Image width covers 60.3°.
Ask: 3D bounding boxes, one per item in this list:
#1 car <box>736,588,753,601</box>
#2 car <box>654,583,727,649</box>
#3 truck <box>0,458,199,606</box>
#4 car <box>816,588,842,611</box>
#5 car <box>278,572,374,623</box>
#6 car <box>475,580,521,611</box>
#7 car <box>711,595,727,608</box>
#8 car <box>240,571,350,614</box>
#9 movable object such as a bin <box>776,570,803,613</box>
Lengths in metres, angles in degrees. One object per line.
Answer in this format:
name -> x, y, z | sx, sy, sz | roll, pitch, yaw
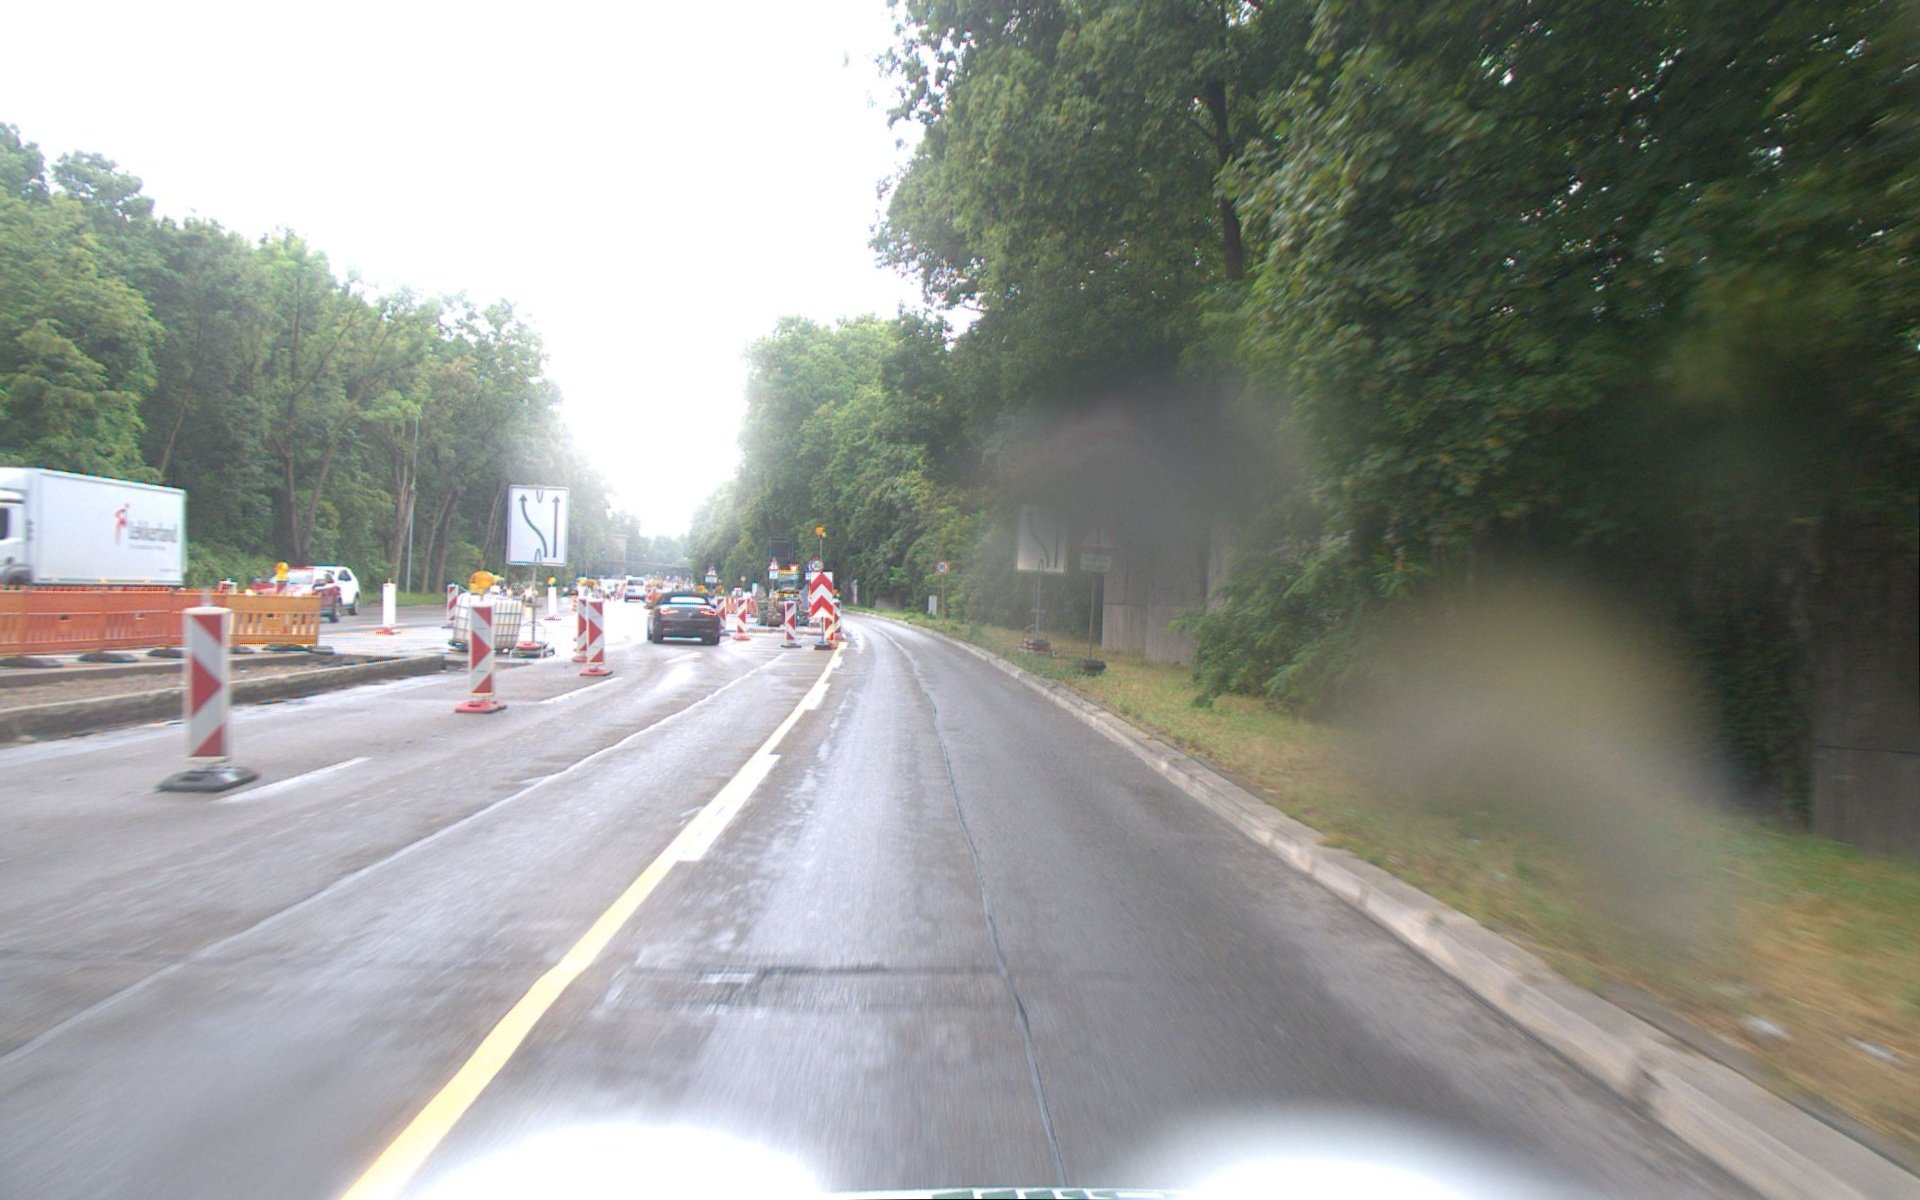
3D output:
car -> -26.098, -0.648, 200.361 | 1.725, 1.367, 3.990 | 4, 1, -11
car -> -7.528, 0.423, 46.452 | 1.827, 1.517, 3.994 | 4, 2, -8
truck -> -22.263, -1.513, 40.319 | 2.739, 3.203, 10.145 | 2, 0, -1
car -> -10.280, -0.084, 129.287 | 1.877, 1.625, 4.828 | 3, 0, -6
car -> -23.287, -0.083, 60.931 | 1.807, 1.753, 4.718 | -1, 0, -1
car -> -26.092, -0.270, 93.538 | 1.603, 1.676, 4.196 | 1, 0, -3
car -> -33.802, 0.182, 232.201 | 1.839, 1.645, 3.996 | 5, 0, -6
car -> -19.854, -0.206, 49.552 | 1.573, 1.172, 4.281 | 2, 0, -1
movable object such as a bin -> -11.953, -0.582, 115.837 | 1.713, 2.917, 3.529 | 2, 0, -7
